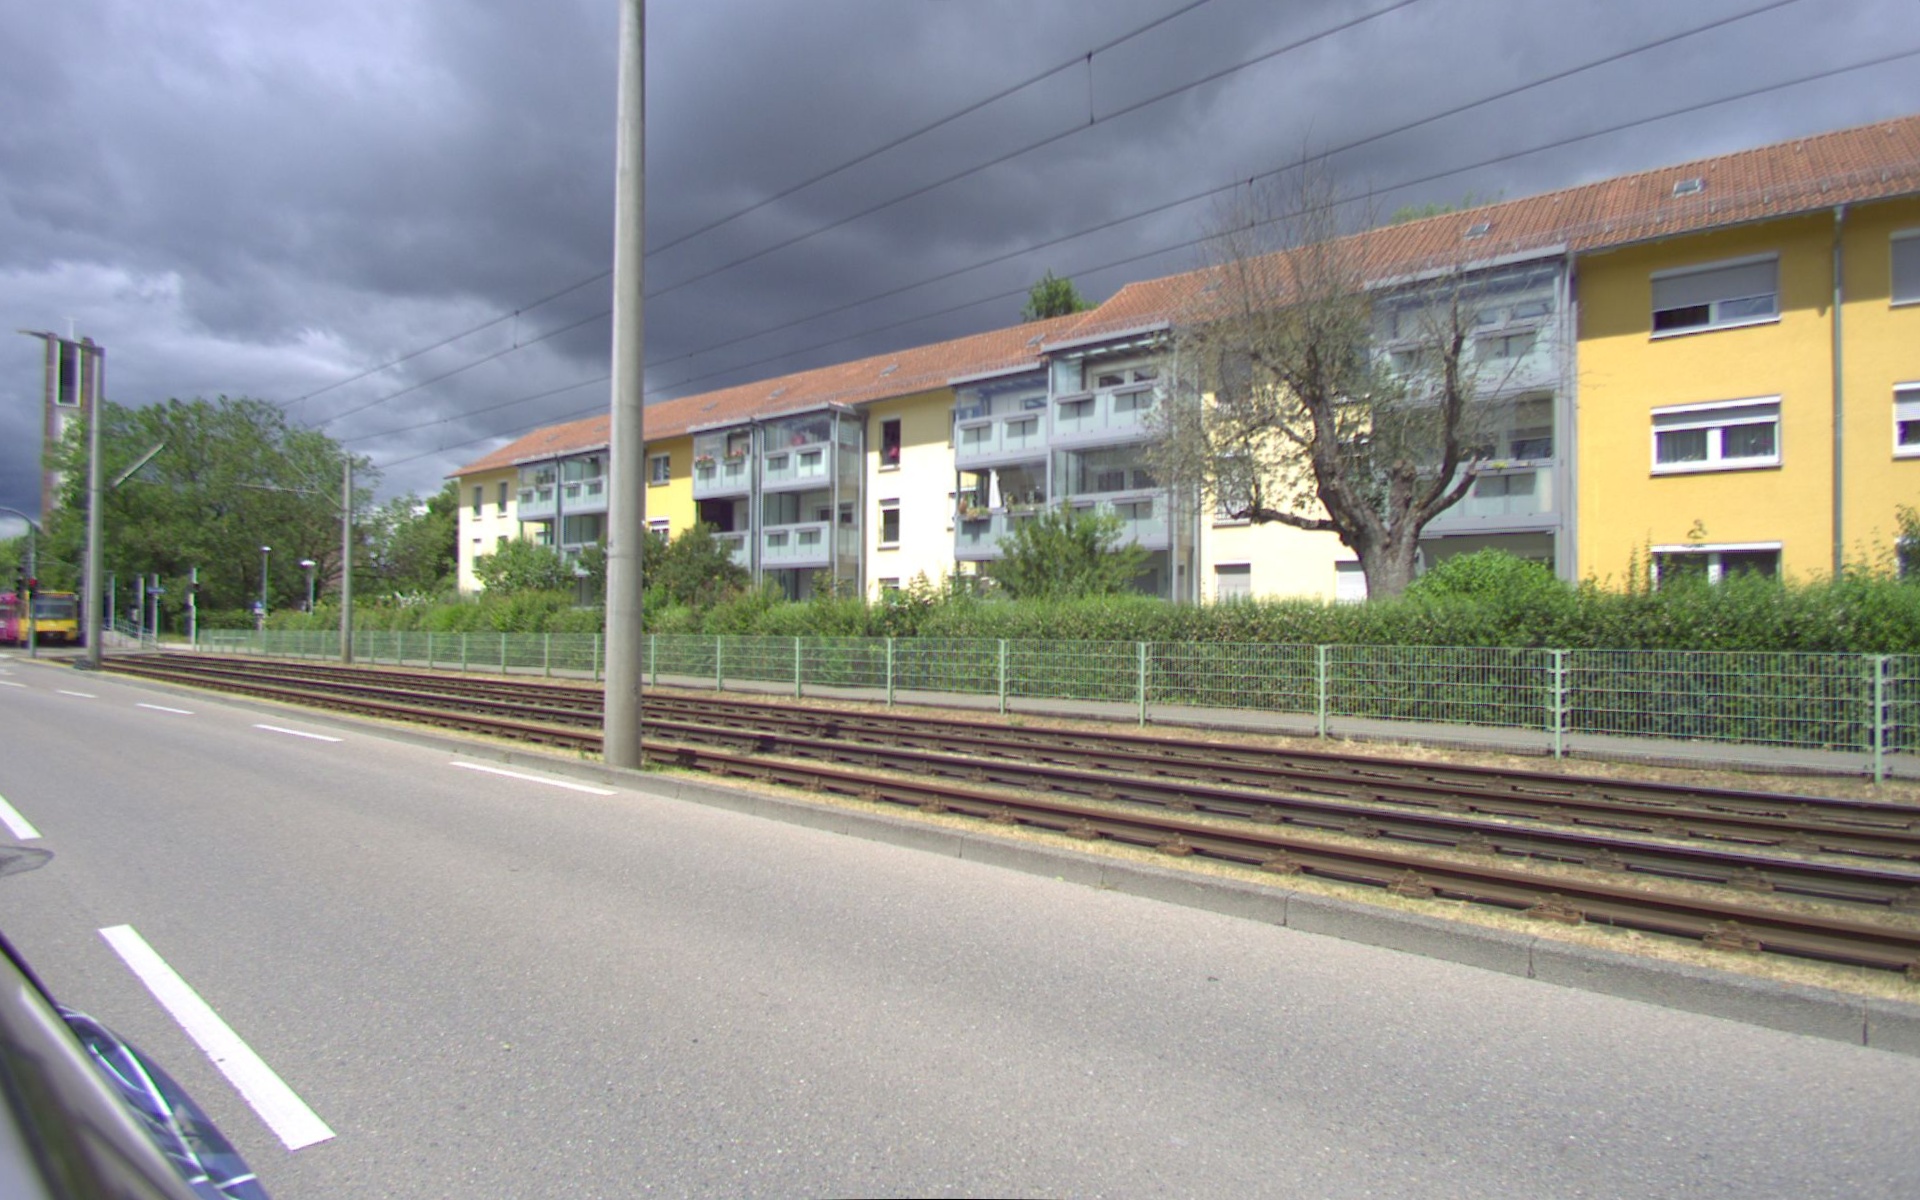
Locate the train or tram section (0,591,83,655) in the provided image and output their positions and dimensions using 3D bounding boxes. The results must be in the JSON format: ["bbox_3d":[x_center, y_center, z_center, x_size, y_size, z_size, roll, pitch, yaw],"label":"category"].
[{"bbox_3d":[-63.079,1.554,68.412,18.524,3.892,2.950,-1,0,40],"label":"train or tram section"}]

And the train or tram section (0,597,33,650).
[{"bbox_3d":[-73.292,1.785,77.092,8.372,3.892,2.950,-1,0,40],"label":"train or tram section"}]

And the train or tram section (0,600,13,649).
[{"bbox_3d":[-82.086,2.078,84.613,11.777,3.892,2.950,-1,0,40],"label":"train or tram section"}]
